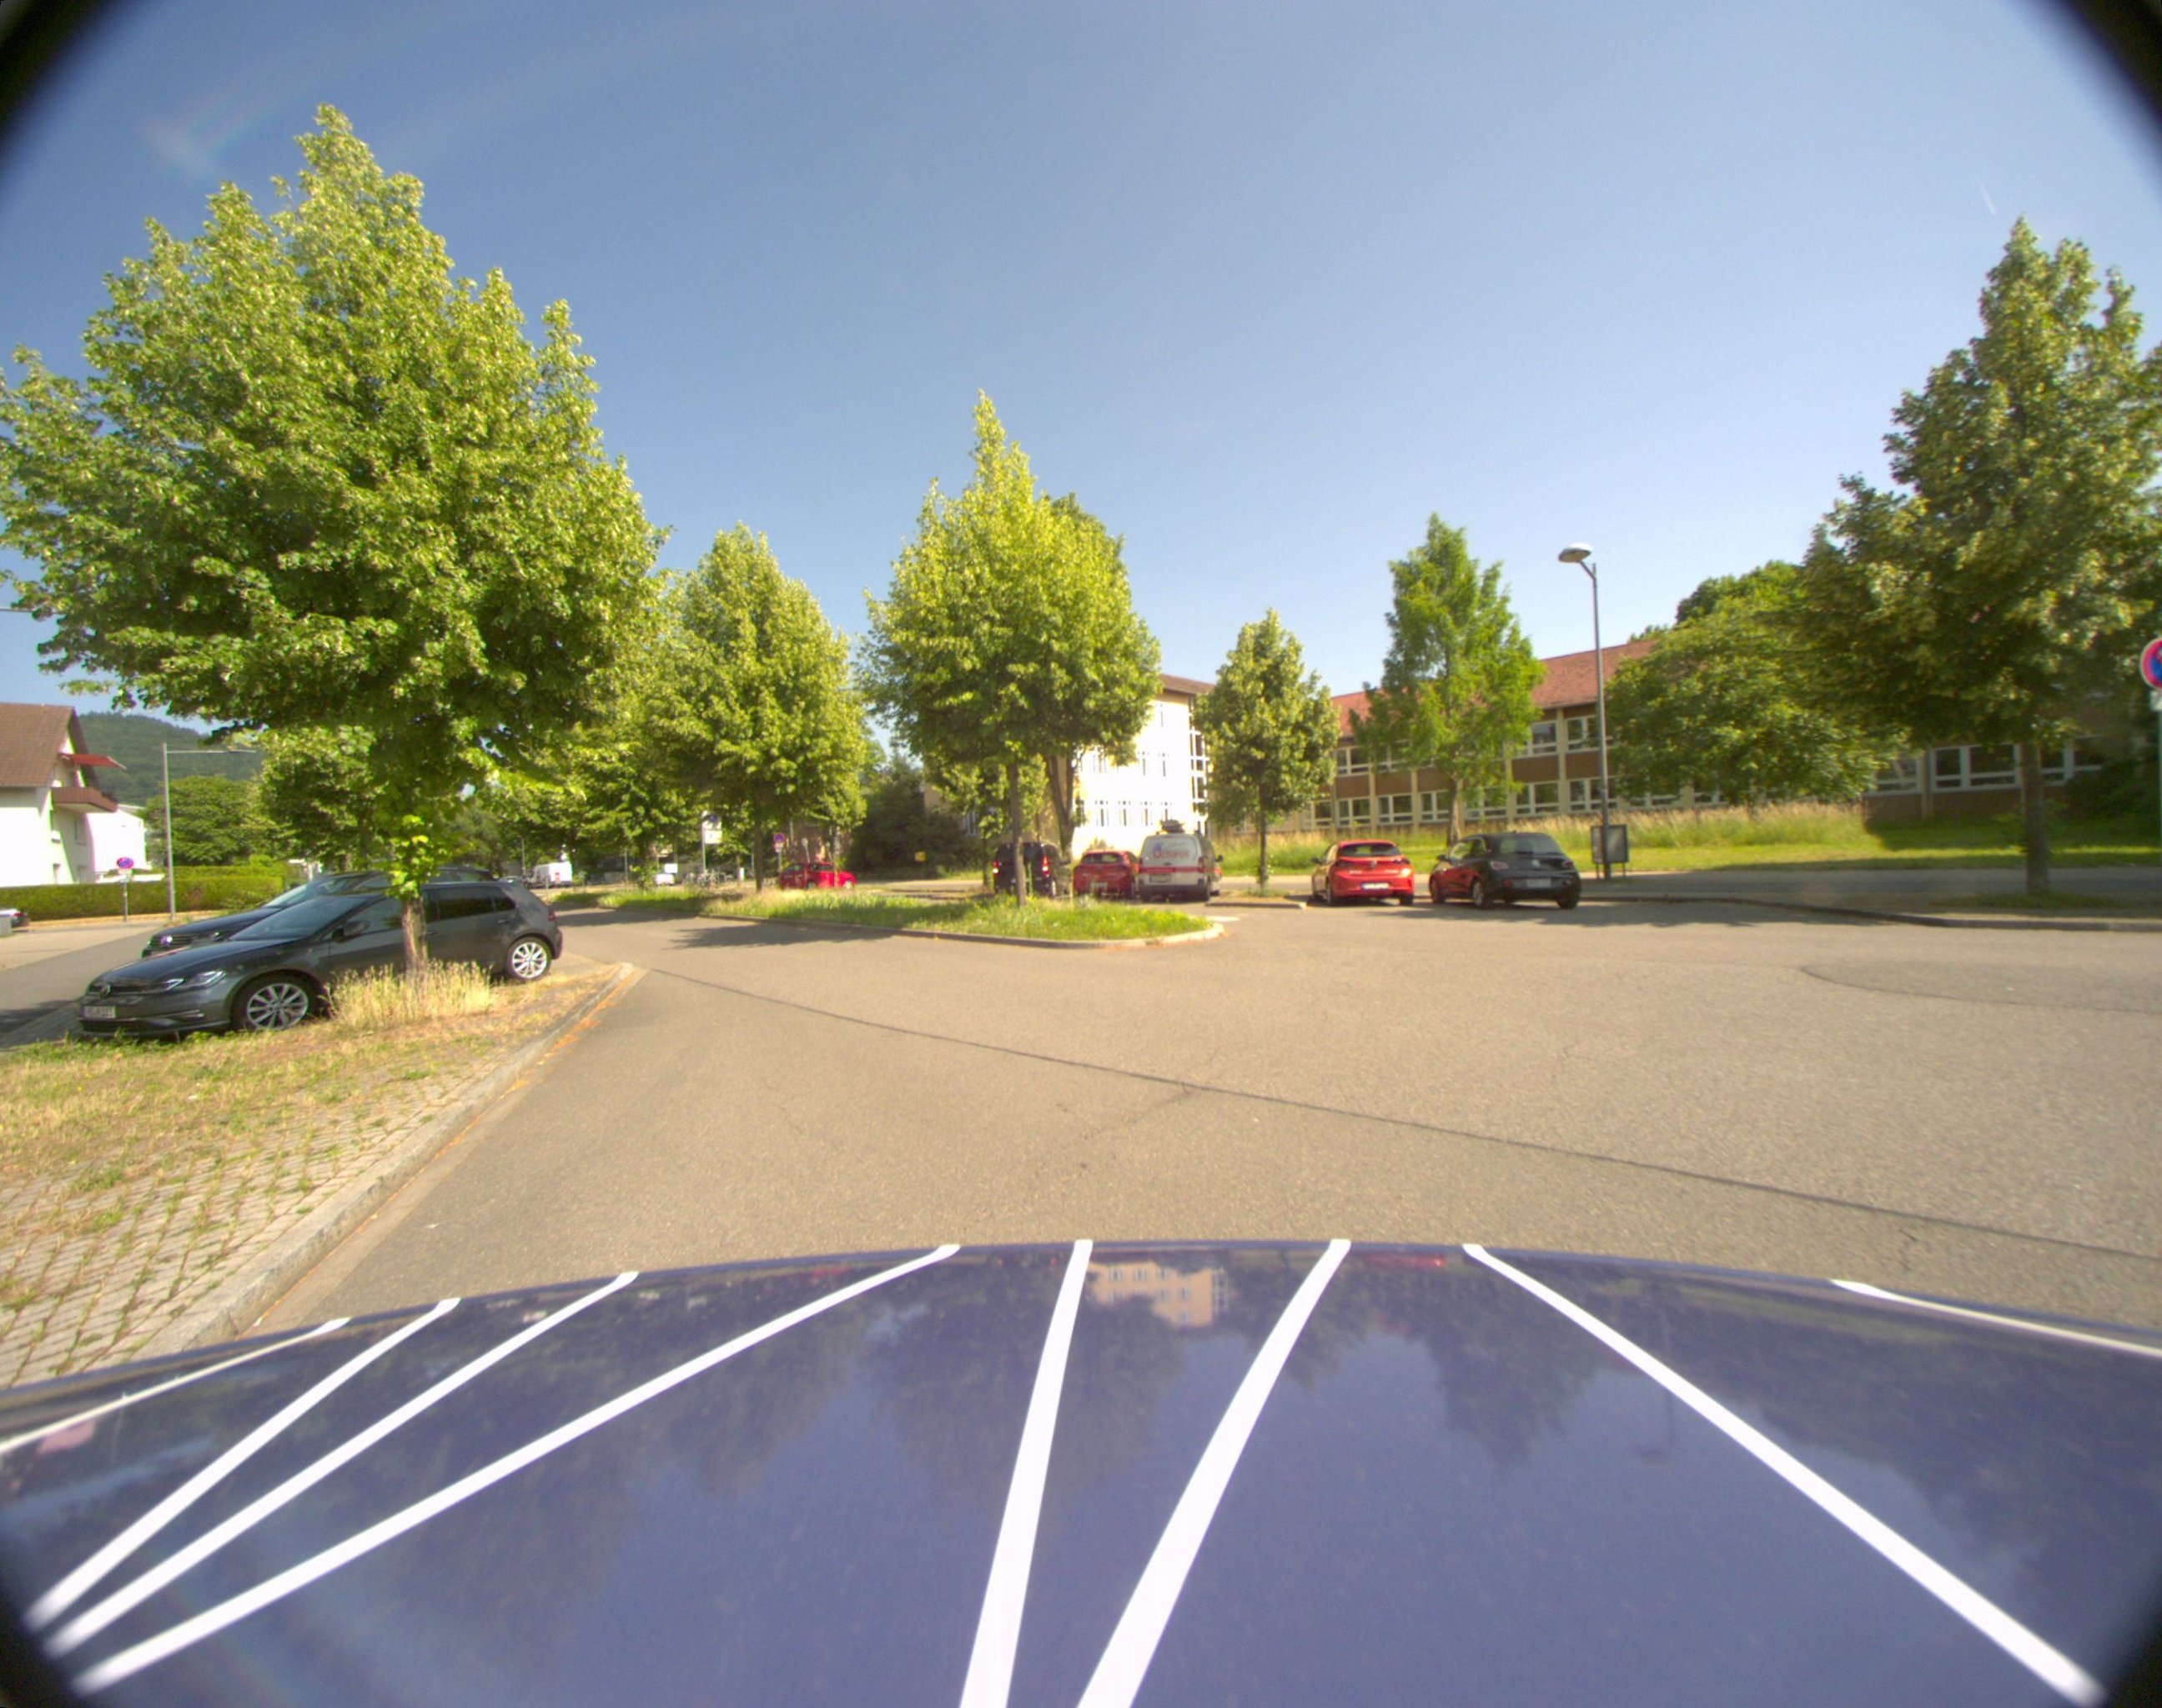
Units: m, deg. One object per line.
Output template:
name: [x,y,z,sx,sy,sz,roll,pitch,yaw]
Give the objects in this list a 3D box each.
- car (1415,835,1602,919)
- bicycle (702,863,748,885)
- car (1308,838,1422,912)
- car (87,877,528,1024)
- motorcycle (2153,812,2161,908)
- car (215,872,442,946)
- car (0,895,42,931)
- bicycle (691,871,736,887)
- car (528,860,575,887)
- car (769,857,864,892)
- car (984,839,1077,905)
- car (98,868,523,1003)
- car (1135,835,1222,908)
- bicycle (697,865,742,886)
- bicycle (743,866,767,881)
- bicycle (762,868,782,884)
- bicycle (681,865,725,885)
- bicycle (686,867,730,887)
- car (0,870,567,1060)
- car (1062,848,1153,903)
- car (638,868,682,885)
car: [8.304,0.403,15.187,1.854,1.415,3.776,-1,0,5]
bicycle: [-22.820,1.278,48.732,0.737,1.249,2.557,-2,1,43]
car: [6.277,0.393,17.207,1.713,1.415,3.845,-2,1,10]
car: [-10.622,1.211,10.917,1.766,1.465,4.004,-3,1,16]
motorcycle: [14.076,0.102,9.257,0.691,1.277,1.855,-2,1,39]
car: [-20.576,1.444,20.994,1.796,1.630,4.006,-2,1,27]
car: [-46.314,2.563,31.131,4.137,1.389,1.806,-3,-2,-44]
bicycle: [-24.320,1.656,50.321,0.737,0.981,2.558,-3,-1,43]
car: [-53.258,2.016,76.400,5.937,2.482,2.100,-3,-1,37]
car: [-12.587,0.943,36.418,1.995,1.458,4.007,-3,-1,25]
car: [-1.484,0.513,24.049,2.001,1.805,4.191,-3,0,8]
car: [-12.522,1.197,12.920,1.749,1.650,4.751,-2,1,15]
car: [2.753,0.399,20.740,1.816,1.762,3.778,-2,1,15]
bicycle: [-23.561,1.419,49.565,0.737,1.249,2.528,-3,-1,43]
bicycle: [-26.836,1.602,62.592,1.715,1.074,0.378,-3,1,-4]
bicycle: [-17.907,1.290,44.078,1.267,0.898,0.523,-1,1,41]
bicycle: [-25.890,1.452,52.090,0.737,1.249,2.558,-3,-1,43]
bicycle: [-25.161,1.522,51.294,0.737,1.232,2.558,-3,-1,43]
car: [-8.844,1.082,9.045,1.996,1.521,4.121,-3,1,15]
car: [0.876,0.576,22.597,1.852,1.419,3.778,-3,0,15]
car: [-35.505,1.899,64.012,3.989,1.259,1.729,-3,-1,38]
